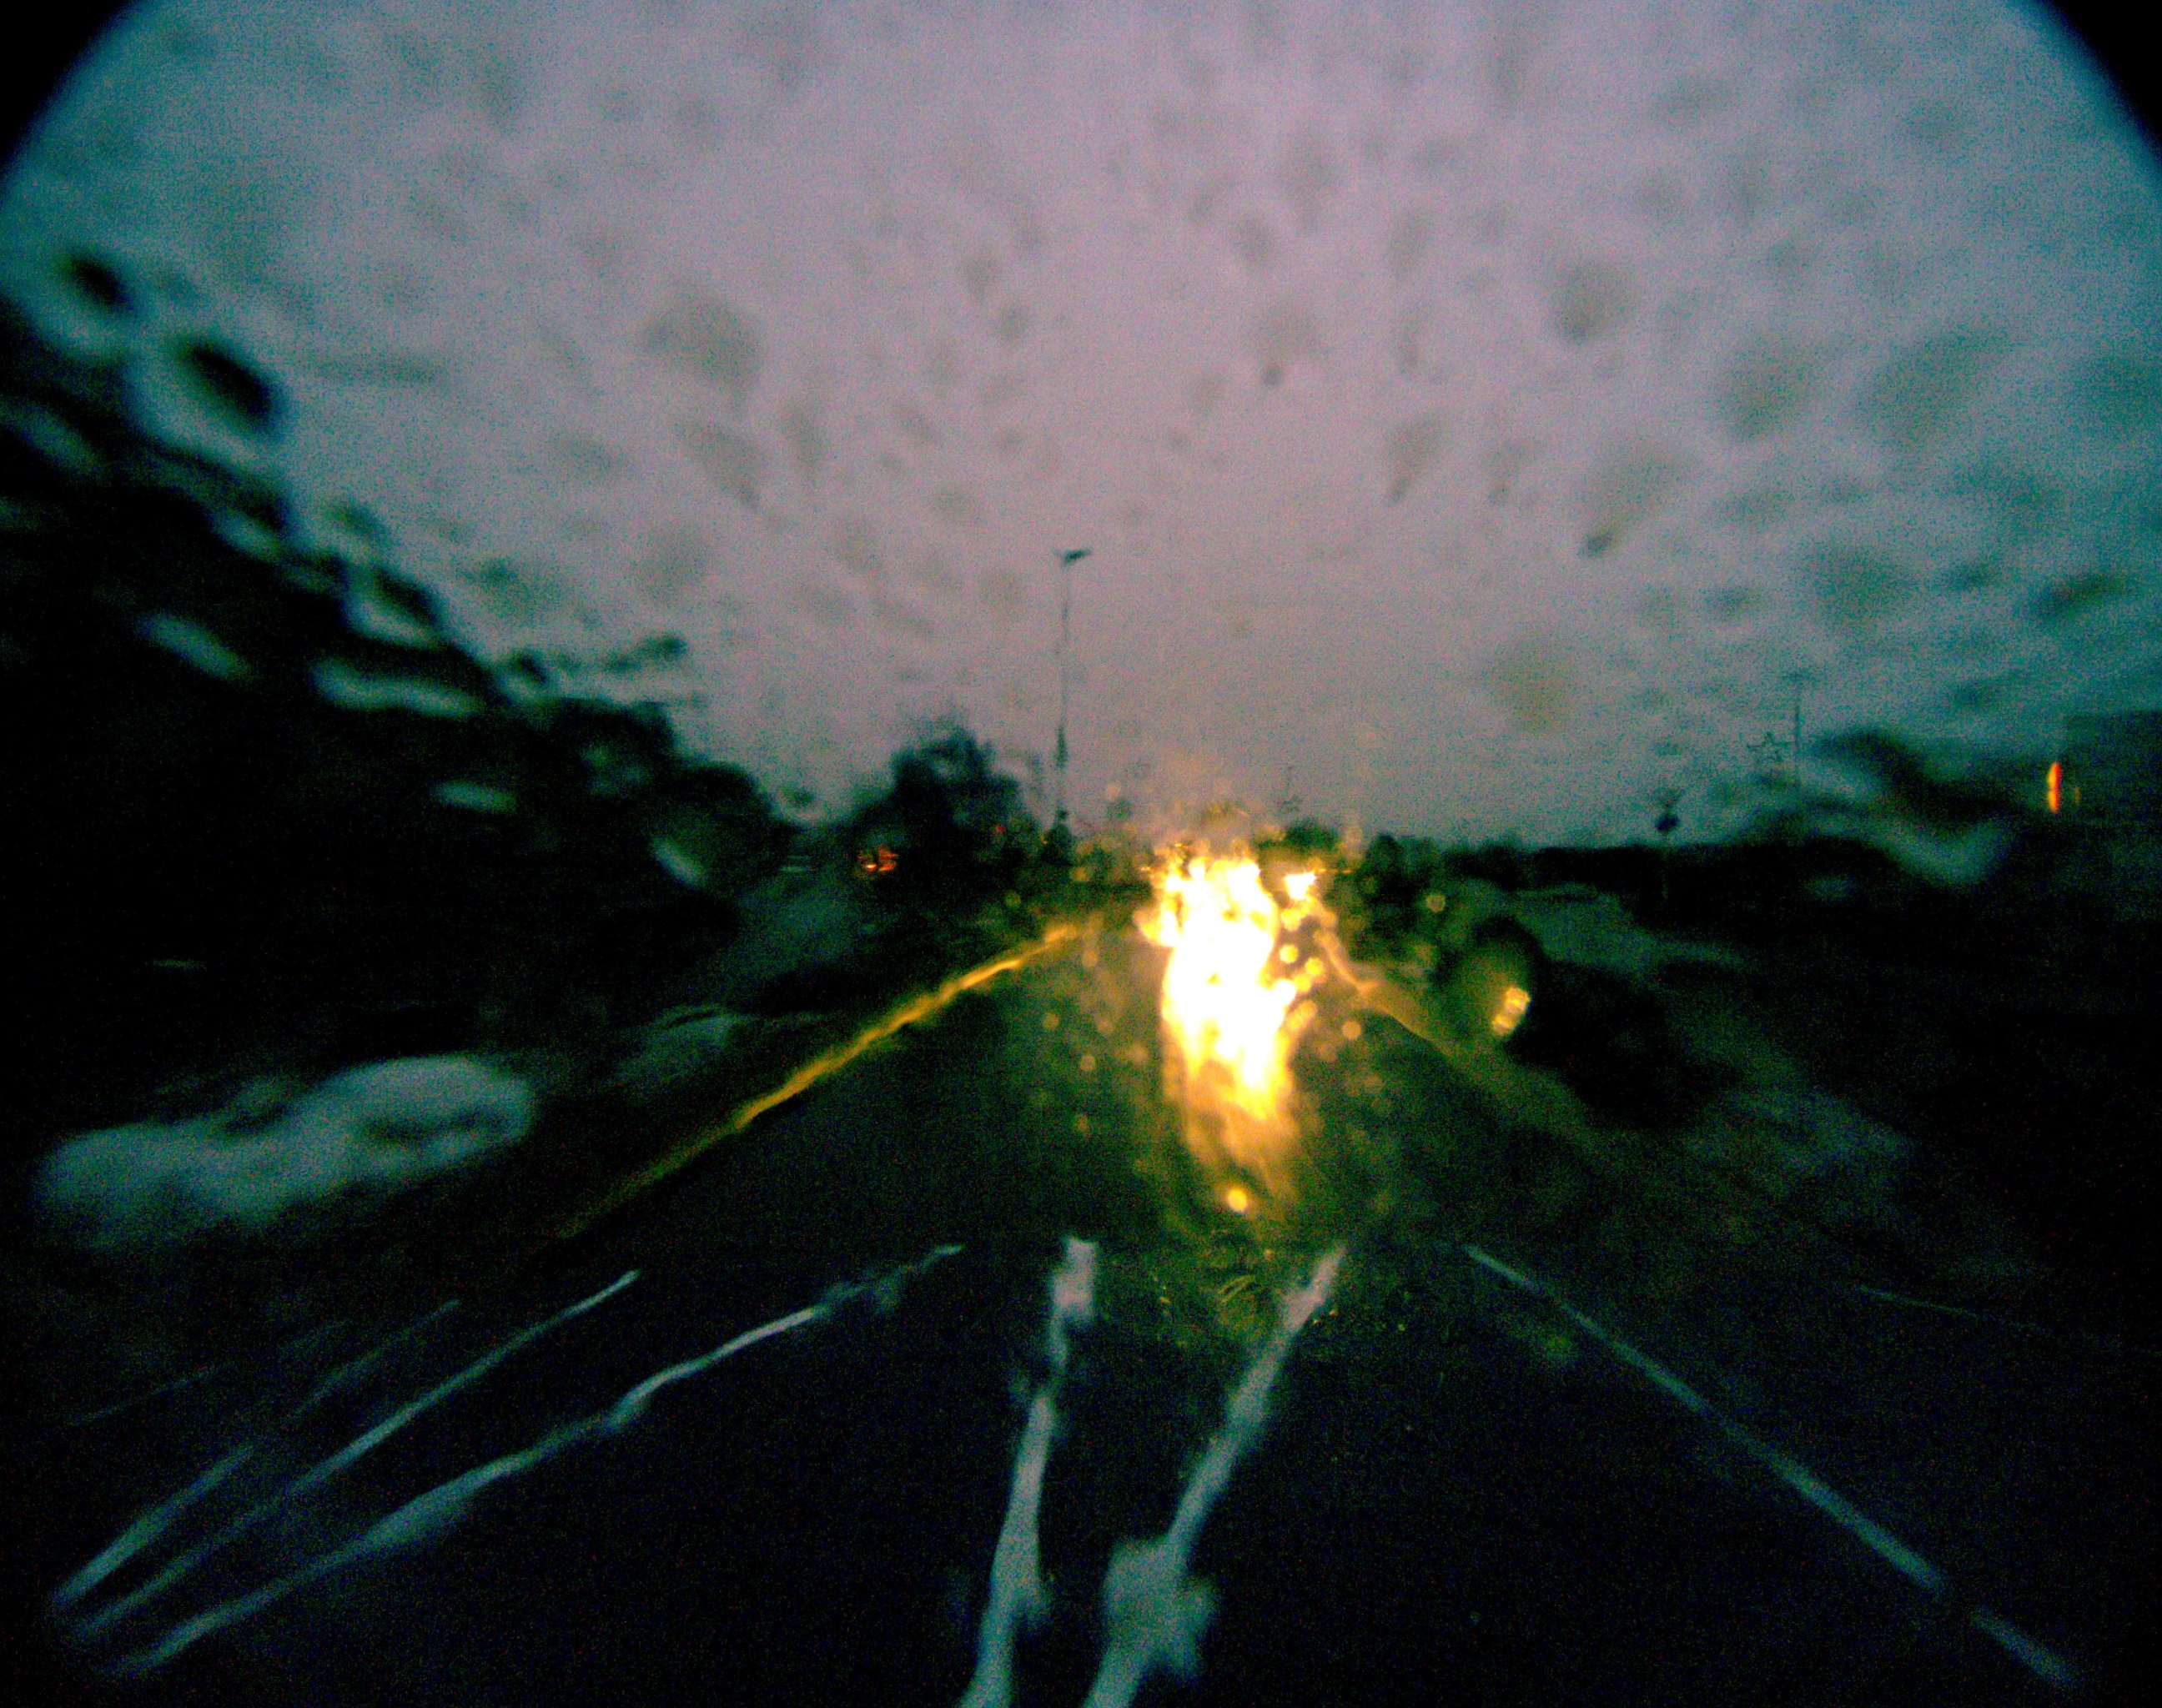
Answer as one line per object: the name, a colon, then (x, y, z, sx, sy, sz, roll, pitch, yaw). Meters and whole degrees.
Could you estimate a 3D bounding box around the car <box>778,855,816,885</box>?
car: (-17.512, 0.948, 47.044, 1.950, 1.795, 4.166, 1, 0, -17)

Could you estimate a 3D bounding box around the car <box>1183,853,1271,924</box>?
car: (3.963, 0.834, 20.055, 1.773, 1.632, 4.428, 1, 0, 17)

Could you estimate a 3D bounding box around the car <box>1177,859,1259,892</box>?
car: (6.646, 1.013, 37.306, 2.003, 1.464, 3.991, 0, 0, -25)

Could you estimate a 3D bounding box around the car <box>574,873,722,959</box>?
car: (-8.569, 1.137, 15.385, 1.778, 1.422, 3.791, 0, 0, -17)
